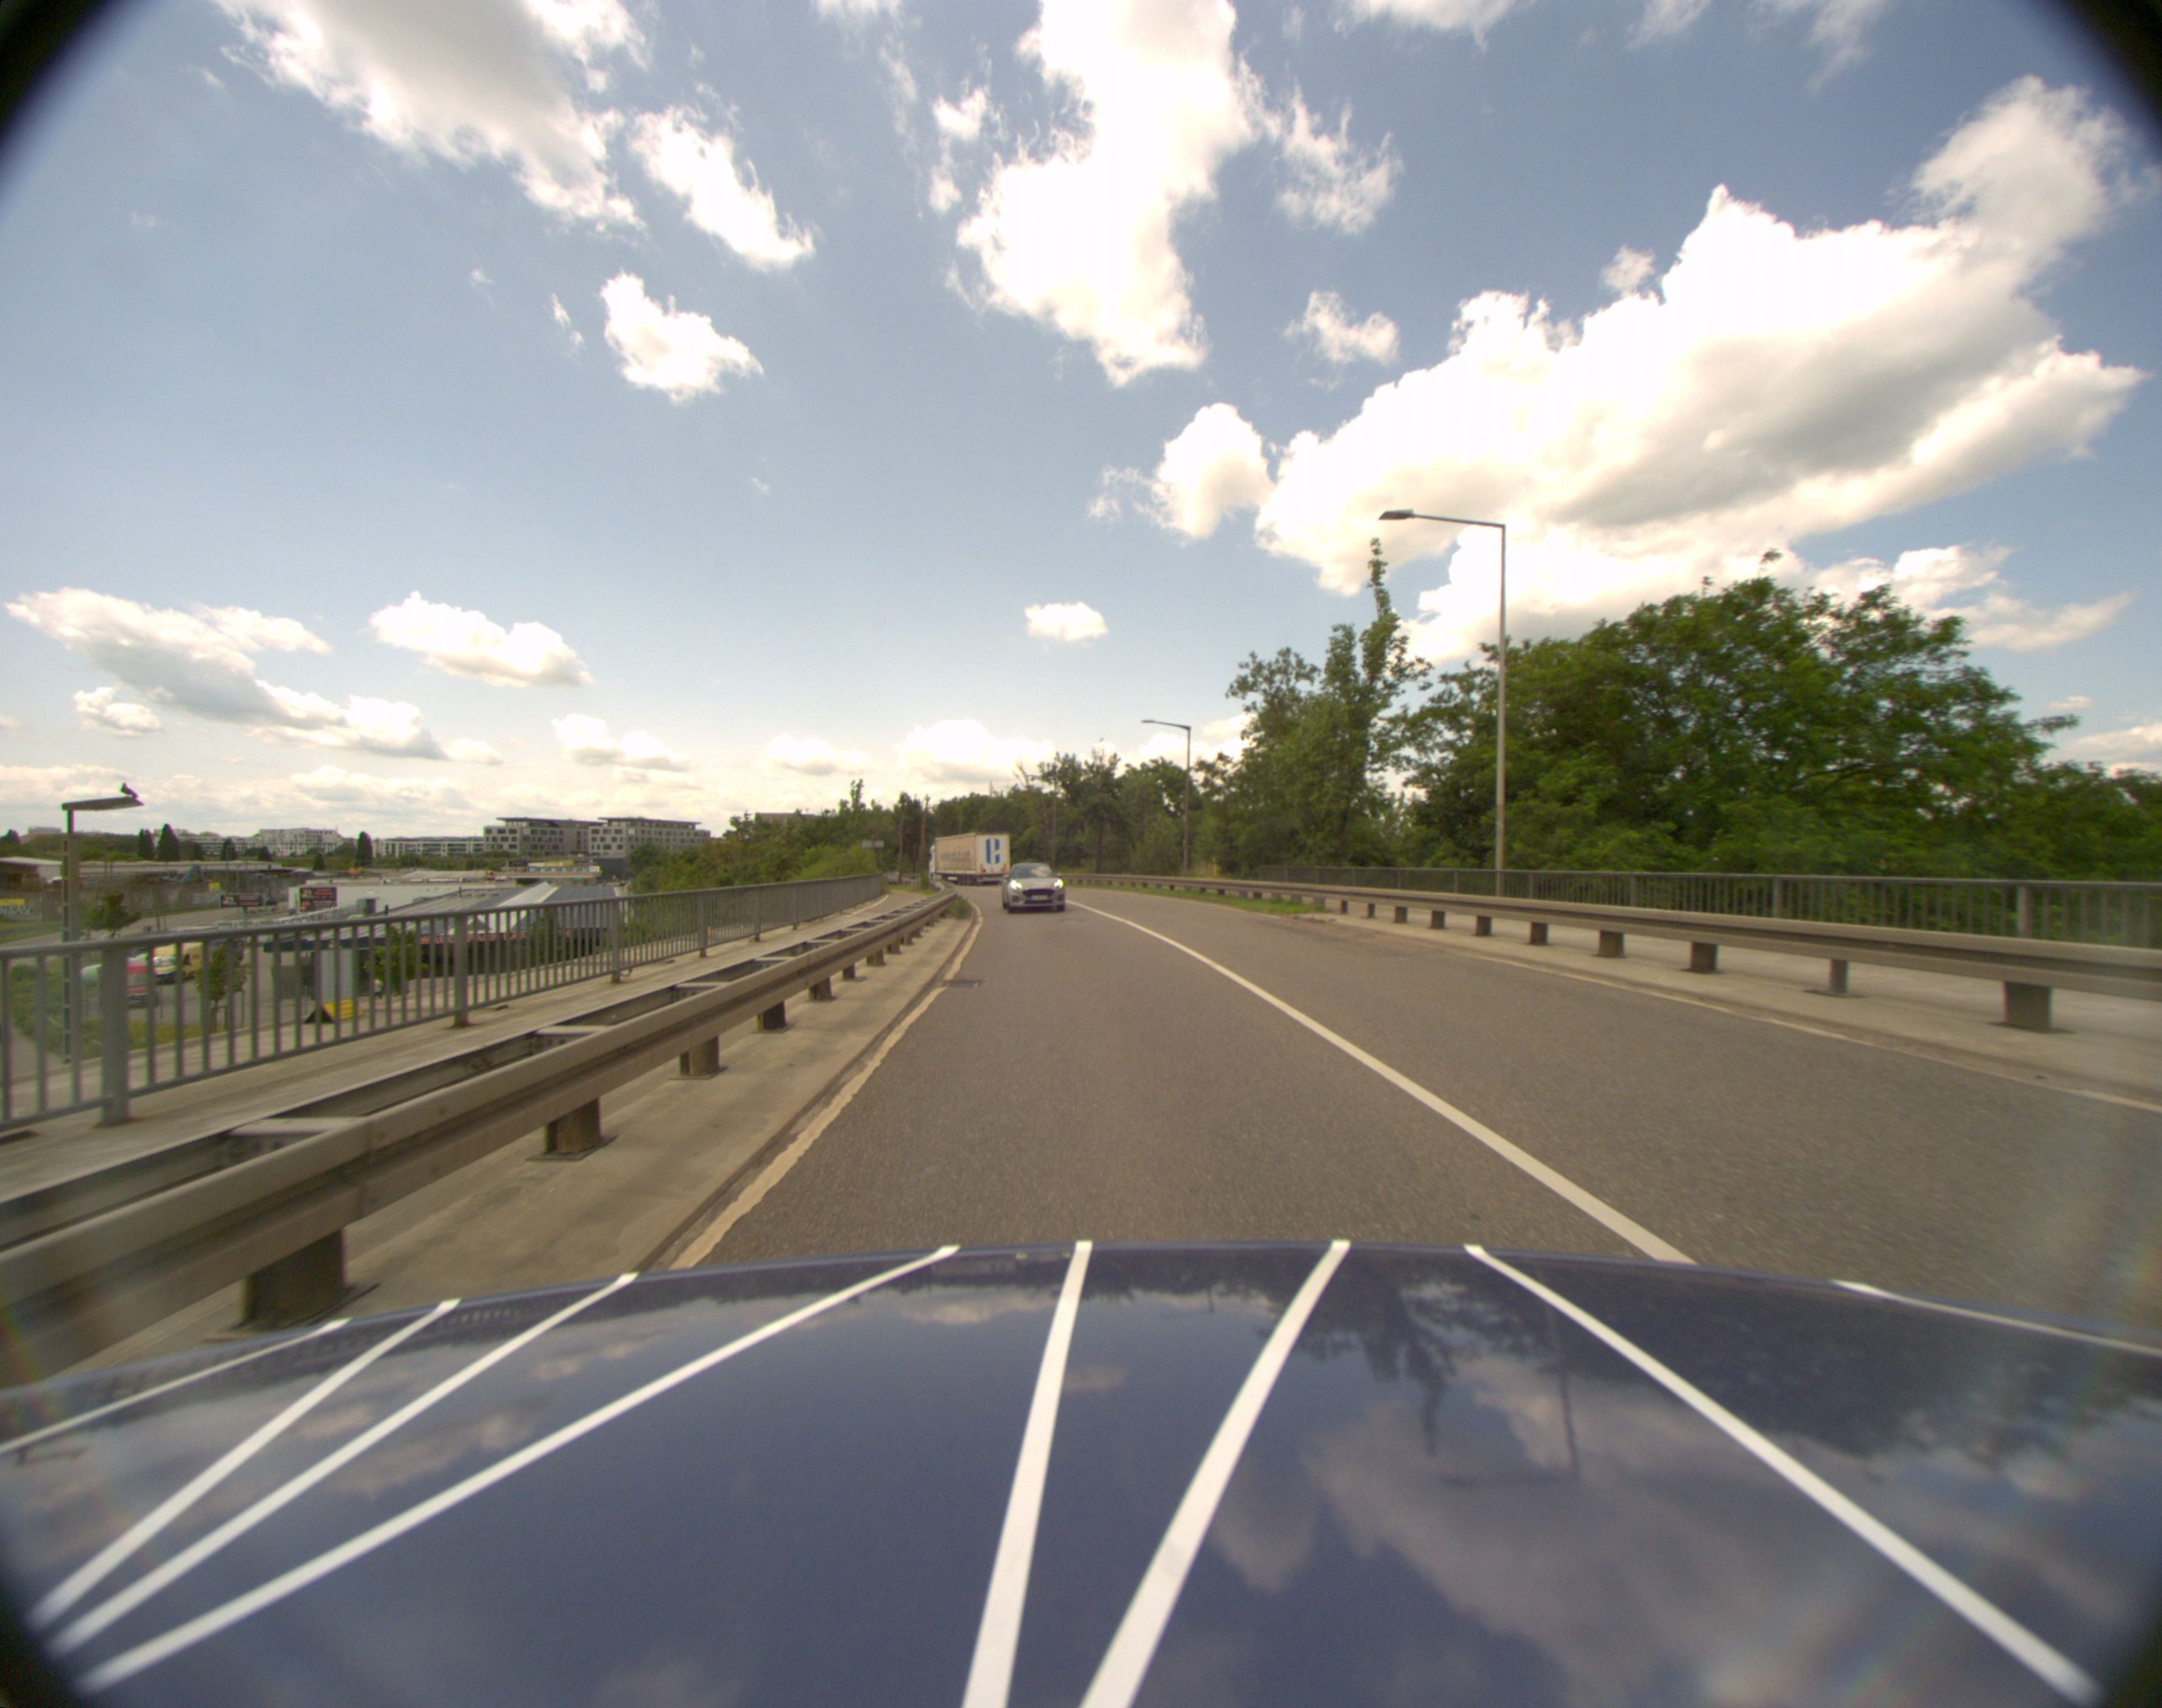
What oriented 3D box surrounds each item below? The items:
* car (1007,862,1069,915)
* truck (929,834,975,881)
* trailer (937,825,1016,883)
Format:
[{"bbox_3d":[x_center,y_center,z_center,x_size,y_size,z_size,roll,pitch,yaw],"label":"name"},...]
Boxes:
[{"bbox_3d":[-1.502,1.085,25.097,1.828,1.515,3.998,-2,-1,-6],"label":"car"},{"bbox_3d":[-11.938,0.331,70.049,2.773,4.110,5.642,-2,0,-23],"label":"truck"},{"bbox_3d":[-8.992,0.085,63.160,2.718,4.255,14.205,-2,0,-23],"label":"trailer"}]
